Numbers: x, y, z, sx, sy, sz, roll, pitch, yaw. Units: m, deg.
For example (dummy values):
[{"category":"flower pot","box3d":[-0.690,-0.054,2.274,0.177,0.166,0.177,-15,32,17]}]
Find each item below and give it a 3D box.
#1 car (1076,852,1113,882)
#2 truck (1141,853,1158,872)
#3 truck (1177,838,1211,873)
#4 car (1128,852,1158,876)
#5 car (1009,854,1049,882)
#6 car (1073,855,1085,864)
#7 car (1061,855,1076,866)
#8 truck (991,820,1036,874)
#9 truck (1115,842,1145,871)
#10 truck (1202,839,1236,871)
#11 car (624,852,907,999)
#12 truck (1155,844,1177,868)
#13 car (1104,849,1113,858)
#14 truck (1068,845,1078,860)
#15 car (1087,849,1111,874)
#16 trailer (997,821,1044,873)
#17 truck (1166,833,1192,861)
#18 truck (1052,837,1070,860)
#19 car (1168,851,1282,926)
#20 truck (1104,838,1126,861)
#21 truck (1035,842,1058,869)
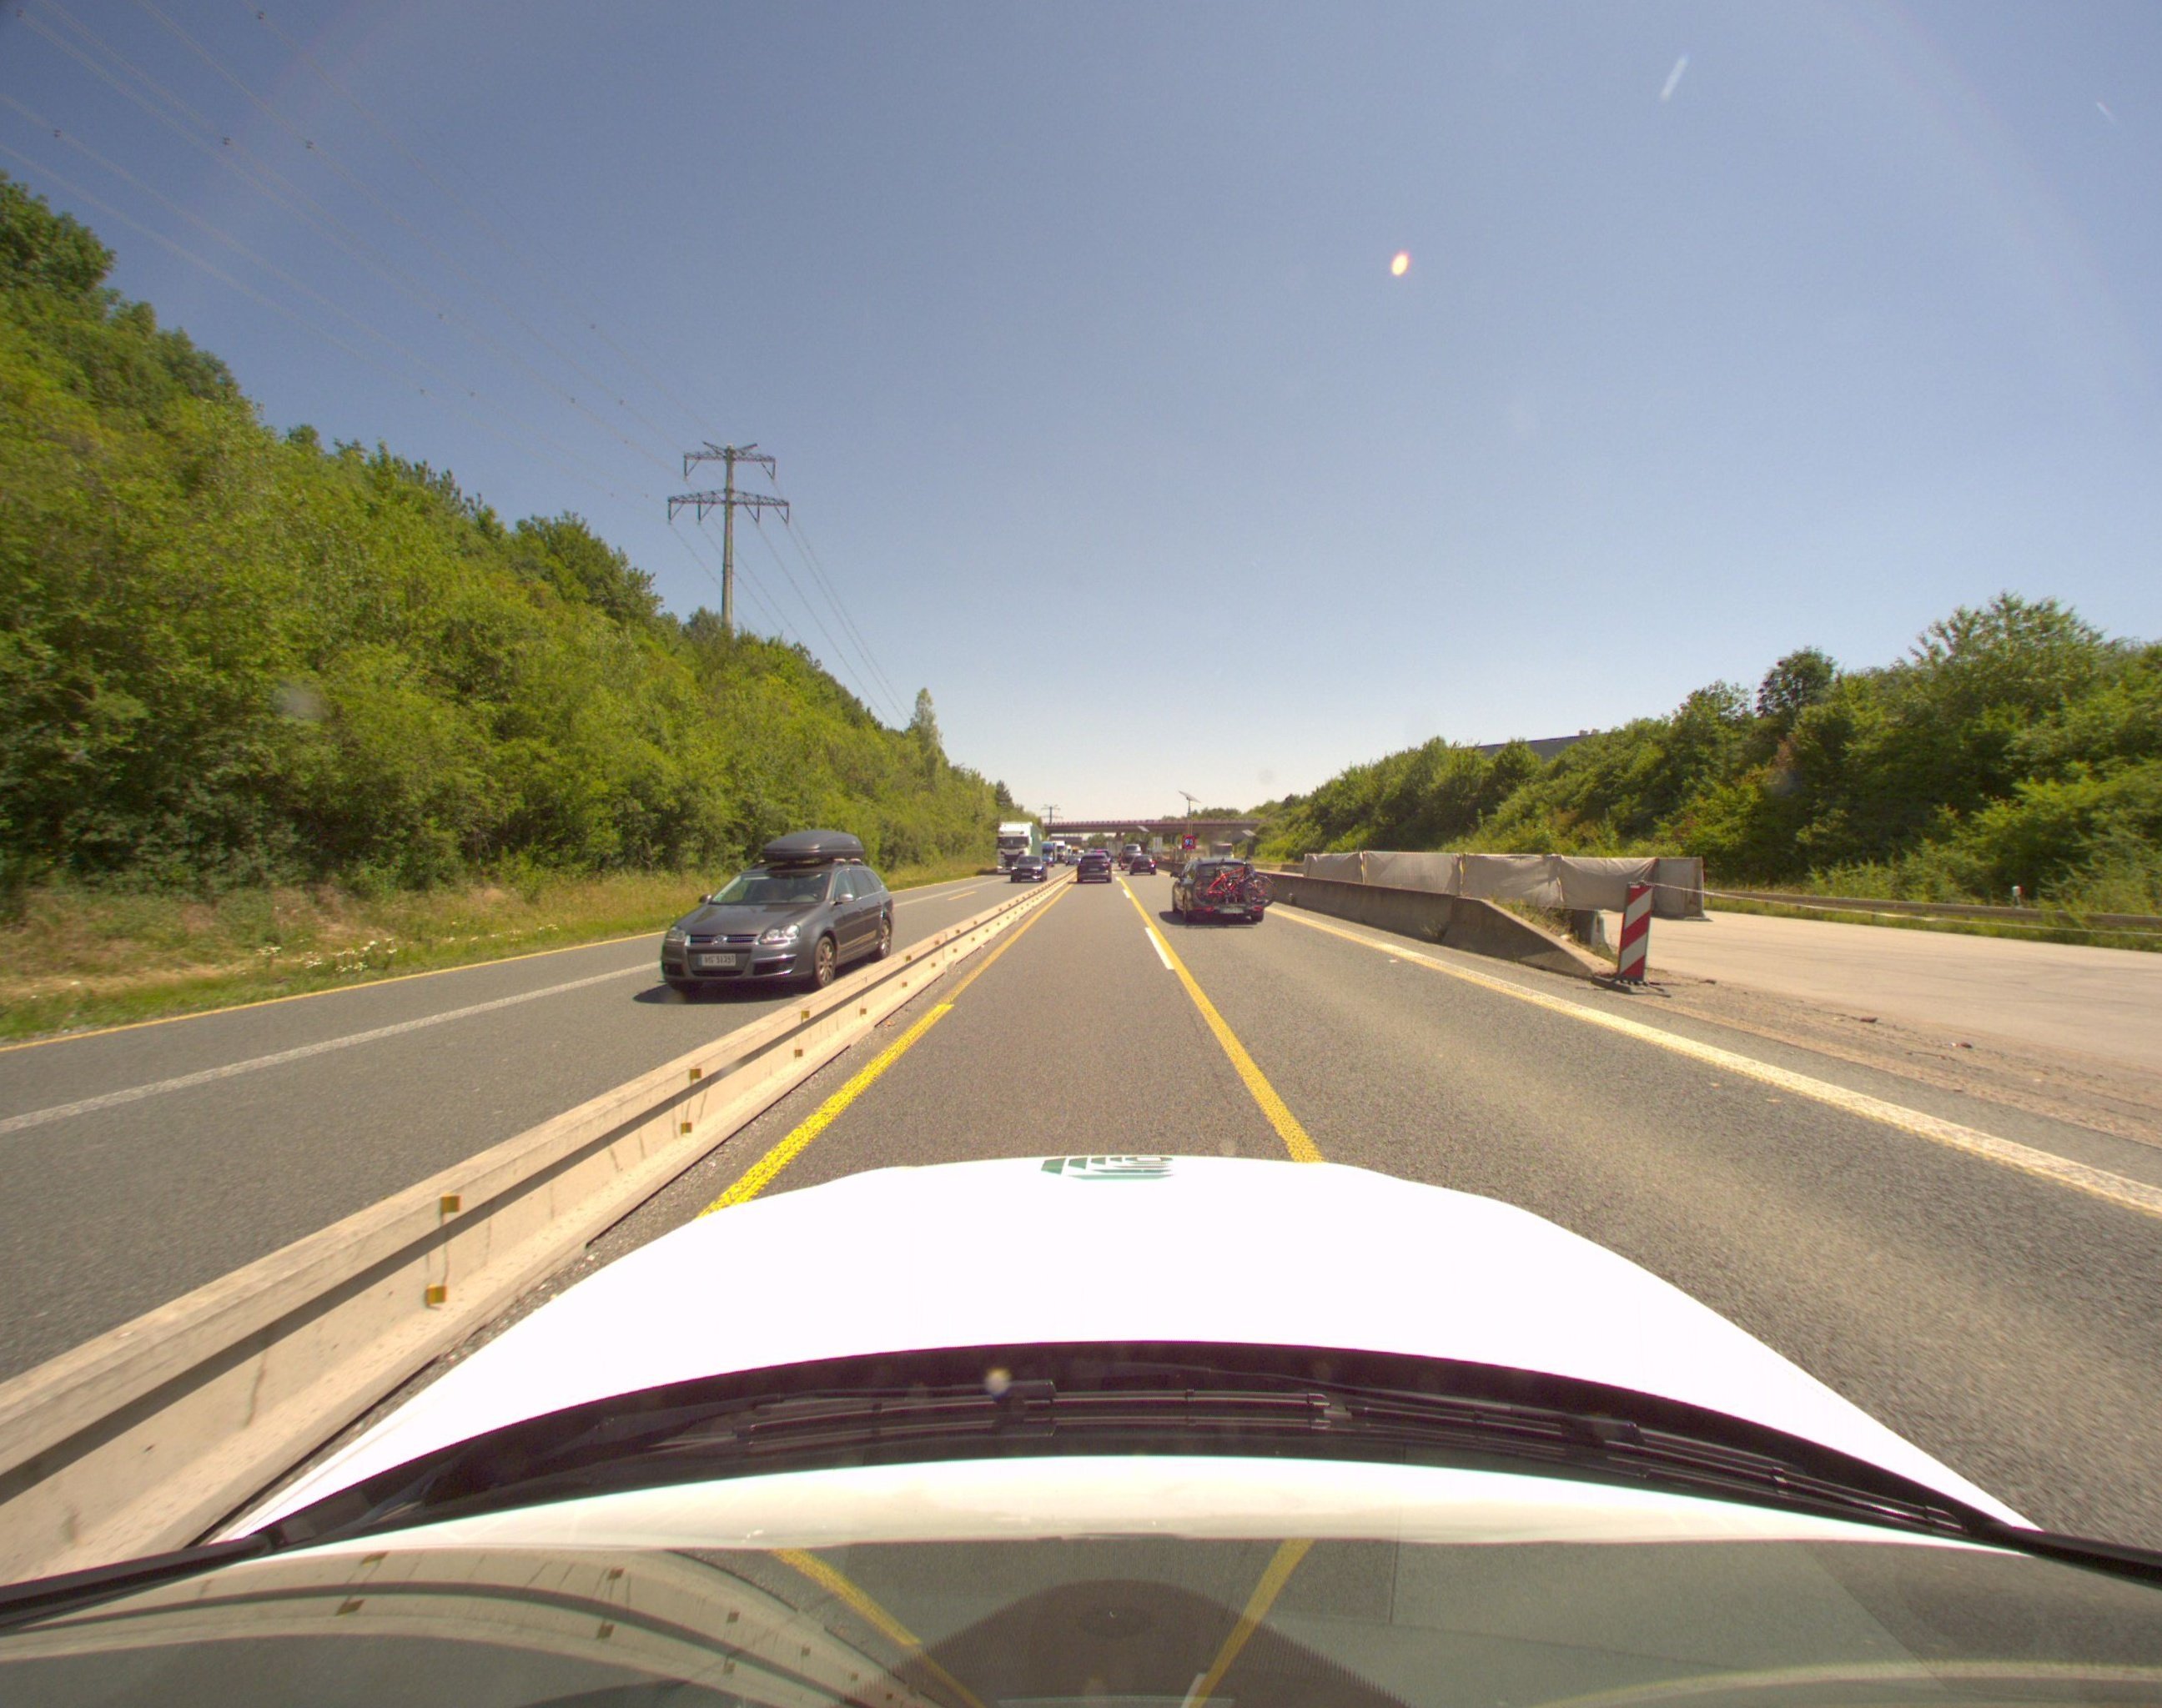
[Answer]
[{"category":"car","box3d":[0.760,0.664,43.754,1.892,1.505,4.278,0,0,2]},{"category":"truck","box3d":[13.392,1.580,160.270,2.678,3.557,9.324,-1,0,0]},{"category":"truck","box3d":[11.885,0.177,86.526,2.524,3.511,9.098,-1,0,1]},{"category":"car","box3d":[4.354,0.698,57.871,1.892,1.585,4.278,0,0,2]},{"category":"car","box3d":[-2.901,0.787,46.323,1.892,1.505,4.278,0,0,2]},{"category":"car","box3d":[-0.267,0.885,135.480,1.835,1.490,4.511,-2,-1,1]},{"category":"car","box3d":[-1.683,0.855,110.997,1.753,1.490,4.405,0,0,3]},{"category":"truck","box3d":[-5.334,-0.532,65.547,2.884,4.118,6.021,-1,0,1]},{"category":"truck","box3d":[4.571,0.231,77.002,2.398,2.558,7.499,0,0,0]},{"category":"truck","box3d":[15.855,0.075,94.174,2.678,3.511,8.381,-1,0,1]},{"category":"car","box3d":[-3.738,0.756,10.595,1.892,1.516,4.278,0,0,2]},{"category":"truck","box3d":[13.211,0.337,127.417,2.678,3.557,9.604,-1,0,1]},{"category":"car","box3d":[6.076,-0.021,180.945,1.892,1.968,4.278,0,0,2]},{"category":"truck","box3d":[-2.024,-0.502,220.115,2.401,3.992,10.354,0,0,1]},{"category":"car","box3d":[1.467,0.589,65.967,1.892,1.968,4.278,0,0,2]},{"category":"trailer","box3d":[-5.182,-0.570,72.417,2.881,4.125,13.246,0,0,1]},{"category":"truck","box3d":[13.012,-0.924,108.853,2.529,3.557,9.604,-1,0,1]},{"category":"truck","box3d":[-3.608,-0.995,148.146,2.639,3.992,9.654,1,0,2]},{"category":"car","box3d":[3.159,0.720,18.826,1.892,1.490,4.949,0,0,2]},{"category":"truck","box3d":[6.015,-0.792,146.345,3.283,3.845,10.104,-1,0,-1]},{"category":"truck","box3d":[-4.387,0.127,104.353,2.396,3.330,7.504,0,0,2]}]
